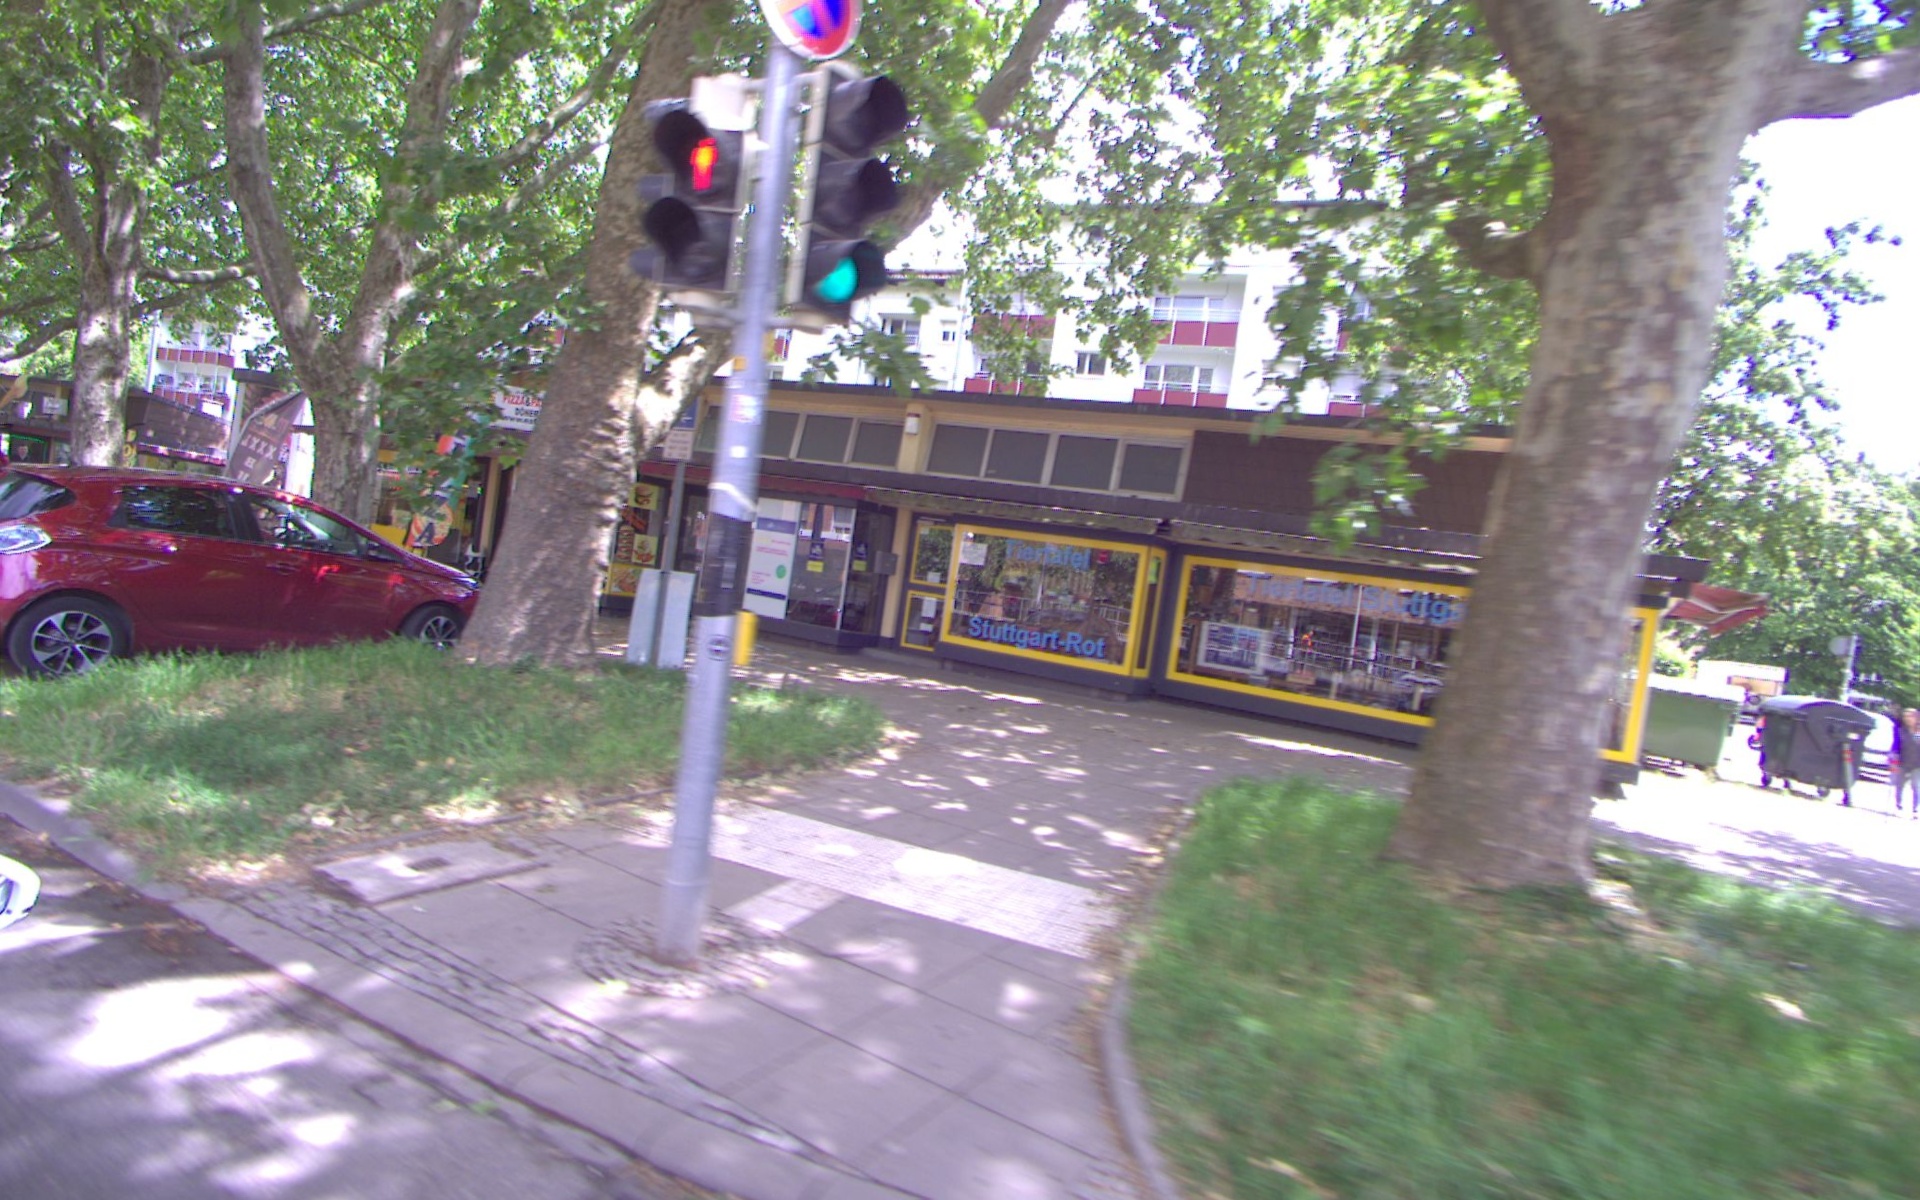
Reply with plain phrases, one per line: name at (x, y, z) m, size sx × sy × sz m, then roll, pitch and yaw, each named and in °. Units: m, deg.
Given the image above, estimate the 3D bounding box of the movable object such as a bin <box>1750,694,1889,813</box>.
movable object such as a bin at (12.721, 2.241, 14.960) m, size 1.124 × 1.431 × 1.183 m, roll 11°, pitch 3°, yaw 28°

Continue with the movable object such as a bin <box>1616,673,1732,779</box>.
movable object such as a bin at (11.658, 2.024, 16.501) m, size 1.191 × 1.431 × 1.177 m, roll 11°, pitch 3°, yaw 28°

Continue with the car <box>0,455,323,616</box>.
car at (-9.425, -0.700, 11.317) m, size 1.582 × 1.535 × 3.409 m, roll 8°, pitch 3°, yaw 28°

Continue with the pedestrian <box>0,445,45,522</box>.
pedestrian at (-25.058, -3.105, 26.770) m, size 0.926 × 1.908 × 0.743 m, roll 7°, pitch 3°, yaw 32°

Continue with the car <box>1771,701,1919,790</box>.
car at (20.420, 3.271, 23.211) m, size 1.626 × 1.505 × 3.467 m, roll 8°, pitch 0°, yaw 24°

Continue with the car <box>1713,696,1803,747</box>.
car at (30.404, 4.585, 38.417) m, size 1.700 × 1.459 × 3.512 m, roll 8°, pitch 0°, yaw 24°

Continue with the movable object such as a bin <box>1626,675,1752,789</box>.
movable object such as a bin at (11.108, 1.978, 15.399) m, size 1.191 × 1.431 × 1.177 m, roll 11°, pitch 3°, yaw 28°

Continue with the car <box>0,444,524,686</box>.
car at (-6.146, -0.273, 8.656) m, size 1.703 × 1.633 × 4.026 m, roll 8°, pitch 3°, yaw 35°

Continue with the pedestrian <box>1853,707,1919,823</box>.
pedestrian at (13.746, 2.404, 14.366) m, size 1.082 × 1.494 × 0.809 m, roll 12°, pitch 3°, yaw 27°
